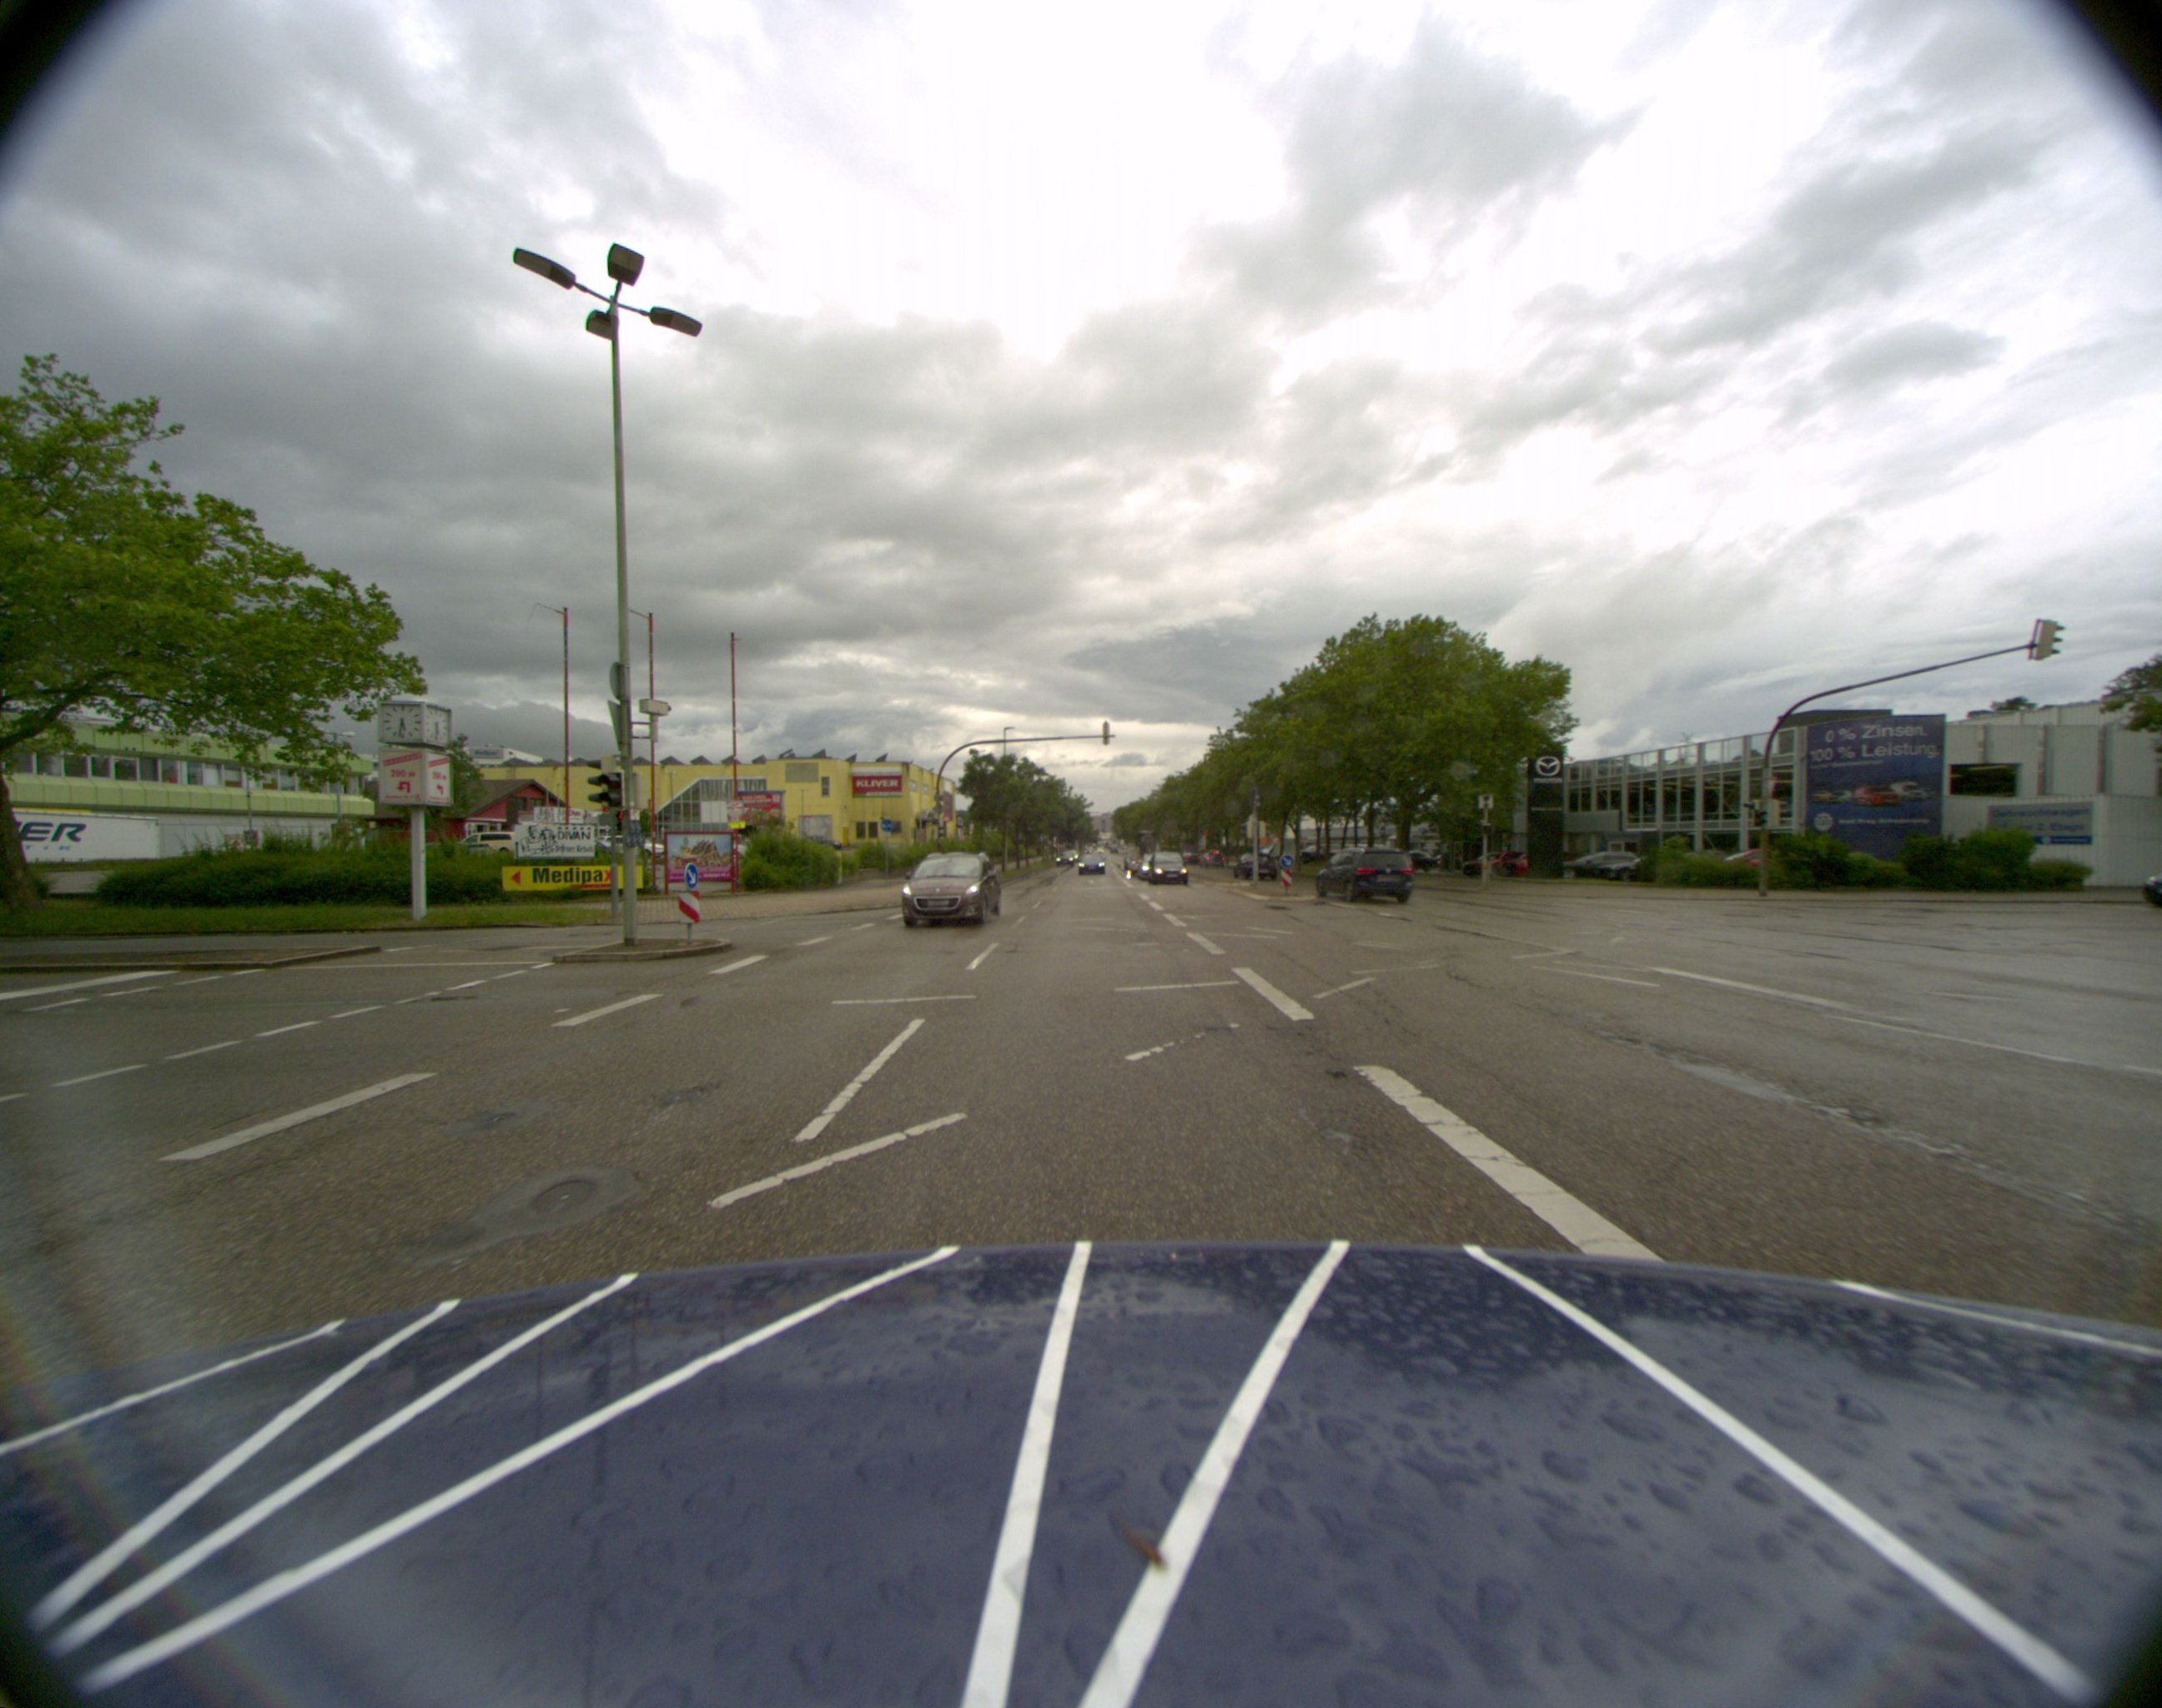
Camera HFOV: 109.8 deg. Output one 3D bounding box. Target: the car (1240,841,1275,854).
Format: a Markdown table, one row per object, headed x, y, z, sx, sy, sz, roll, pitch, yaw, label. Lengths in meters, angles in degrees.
| x | y | z | sx | sy | sz | roll | pitch | yaw | label |
| --- | --- | --- | --- | --- | --- | --- | --- | --- | --- |
| 27.817 | -1.076 | 120.000 | 5.058 | 2.002 | 2.129 | 0 | 1 | 0 | car |

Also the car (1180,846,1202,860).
| x | y | z | sx | sy | sz | roll | pitch | yaw | label |
| --- | --- | --- | --- | --- | --- | --- | --- | --- | --- |
| 11.709 | -0.164 | 81.284 | 1.715 | 1.375 | 4.173 | 2 | 1 | -1 | car |

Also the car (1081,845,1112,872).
| x | y | z | sx | sy | sz | roll | pitch | yaw | label |
| --- | --- | --- | --- | --- | --- | --- | --- | --- | --- |
| 1.097 | 0.296 | 52.676 | 1.998 | 1.633 | 4.360 | -2 | 2 | 2 | car |

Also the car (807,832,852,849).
| x | y | z | sx | sy | sz | roll | pitch | yaw | label |
| --- | --- | --- | --- | --- | --- | --- | --- | --- | --- |
| -26.196 | -1.401 | 79.114 | 3.997 | 1.769 | 2.000 | 0 | 1 | 0 | car |

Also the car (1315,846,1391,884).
| x | y | z | sx | sy | sz | roll | pitch | yaw | label |
| --- | --- | --- | --- | --- | --- | --- | --- | --- | --- |
| 12.898 | 0.467 | 36.372 | 1.915 | 1.717 | 4.883 | 0 | 1 | 1 | car |

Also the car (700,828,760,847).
| x | y | z | sx | sy | sz | roll | pitch | yaw | label |
| --- | --- | --- | --- | --- | --- | --- | --- | --- | --- |
| -31.383 | -1.456 | 68.003 | 4.382 | 1.729 | 2.000 | 0 | 1 | 0 | car |

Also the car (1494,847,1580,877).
| x | y | z | sx | sy | sz | roll | pitch | yaw | label |
| --- | --- | --- | --- | --- | --- | --- | --- | --- | --- |
| 26.072 | 0.452 | 43.445 | 4.237 | 1.644 | 2.008 | 0 | 2 | -22 | car |

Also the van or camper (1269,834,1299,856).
| x | y | z | sx | sy | sz | roll | pitch | yaw | label |
| --- | --- | --- | --- | --- | --- | --- | --- | --- | --- |
| 24.233 | -1.105 | 90.911 | 1.998 | 2.456 | 6.401 | -2 | 1 | 2 | van or camper |

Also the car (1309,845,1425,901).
| x | y | z | sx | sy | sz | roll | pitch | yaw | label |
| --- | --- | --- | --- | --- | --- | --- | --- | --- | --- |
| 8.836 | 0.507 | 23.937 | 1.916 | 1.599 | 4.362 | 0 | 1 | -2 | car |

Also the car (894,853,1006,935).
| x | y | z | sx | sy | sz | roll | pitch | yaw | label |
| --- | --- | --- | --- | --- | --- | --- | --- | --- | --- |
| -2.916 | 0.819 | 17.847 | 1.730 | 1.615 | 4.470 | 0 | 1 | 2 | car |

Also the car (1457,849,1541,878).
| x | y | z | sx | sy | sz | roll | pitch | yaw | label |
| --- | --- | --- | --- | --- | --- | --- | --- | --- | --- |
| 25.710 | 0.550 | 46.745 | 4.573 | 1.587 | 1.996 | -2 | 2 | -21 | car |

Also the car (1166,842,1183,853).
| x | y | z | sx | sy | sz | roll | pitch | yaw | label |
| --- | --- | --- | --- | --- | --- | --- | --- | --- | --- |
| 12.760 | -0.859 | 103.996 | 1.714 | 1.456 | 4.084 | 0 | 1 | 0 | car |

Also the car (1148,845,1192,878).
| x | y | z | sx | sy | sz | roll | pitch | yaw | label |
| --- | --- | --- | --- | --- | --- | --- | --- | --- | --- |
| 4.190 | 0.319 | 36.325 | 1.717 | 1.481 | 4.077 | 0 | 1 | 1 | car |

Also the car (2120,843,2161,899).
| x | y | z | sx | sy | sz | roll | pitch | yaw | label |
| --- | --- | --- | --- | --- | --- | --- | --- | --- | --- |
| 30.846 | 0.452 | 20.155 | 3.989 | 1.480 | 1.817 | 0 | 1 | 2 | car |

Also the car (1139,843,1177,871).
| x | y | z | sx | sy | sz | roll | pitch | yaw | label |
| --- | --- | --- | --- | --- | --- | --- | --- | --- | --- |
| 4.205 | 0.130 | 42.049 | 1.770 | 1.450 | 4.780 | 0 | 1 | 1 | car |

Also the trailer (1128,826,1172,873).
| x | y | z | sx | sy | sz | roll | pitch | yaw | label |
| --- | --- | --- | --- | --- | --- | --- | --- | --- | --- |
| 4.331 | -0.313 | 48.594 | 2.378 | 2.880 | 5.544 | 0 | 1 | 0 | trailer |

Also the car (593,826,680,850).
| x | y | z | sx | sy | sz | roll | pitch | yaw | label |
| --- | --- | --- | --- | --- | --- | --- | --- | --- | --- |
| -32.788 | -1.173 | 56.198 | 4.981 | 1.769 | 2.380 | 0 | 1 | 0 | car |

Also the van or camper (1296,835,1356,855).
| x | y | z | sx | sy | sz | roll | pitch | yaw | label |
| --- | --- | --- | --- | --- | --- | --- | --- | --- | --- |
| 23.428 | -0.877 | 72.553 | 5.306 | 1.811 | 2.262 | -1 | 1 | -24 | van or camper |

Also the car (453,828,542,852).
| x | y | z | sx | sy | sz | roll | pitch | yaw | label |
| --- | --- | --- | --- | --- | --- | --- | --- | --- | --- |
| -44.936 | -1.078 | 58.574 | 4.981 | 1.769 | 2.380 | 0 | 1 | 0 | car |

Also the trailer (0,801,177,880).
| x | y | z | sx | sy | sz | roll | pitch | yaw | label |
| --- | --- | --- | --- | --- | --- | --- | --- | --- | --- |
| -52.959 | -0.624 | 35.562 | 3.159 | 3.694 | 14.815 | -2 | 0 | 2 | trailer |

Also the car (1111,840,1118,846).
| x | y | z | sx | sy | sz | roll | pitch | yaw | label |
| --- | --- | --- | --- | --- | --- | --- | --- | --- | --- |
| 9.624 | -3.119 | 219.217 | 1.767 | 1.522 | 3.858 | 1 | 1 | 2 | car |

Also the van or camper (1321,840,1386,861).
| x | y | z | sx | sy | sz | roll | pitch | yaw | label |
| --- | --- | --- | --- | --- | --- | --- | --- | --- | --- |
| 24.485 | -0.360 | 68.293 | 5.381 | 1.760 | 2.100 | -1 | 4 | -21 | van or camper |

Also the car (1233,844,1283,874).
| x | y | z | sx | sy | sz | roll | pitch | yaw | label |
| --- | --- | --- | --- | --- | --- | --- | --- | --- | --- |
| 9.717 | 0.254 | 42.051 | 1.715 | 1.571 | 3.999 | 1 | 1 | -2 | car |

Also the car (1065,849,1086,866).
| x | y | z | sx | sy | sz | roll | pitch | yaw | label |
| --- | --- | --- | --- | --- | --- | --- | --- | --- | --- |
| -0.592 | 0.372 | 82.347 | 1.998 | 1.633 | 4.360 | -2 | 2 | 2 | car |

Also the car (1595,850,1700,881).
| x | y | z | sx | sy | sz | roll | pitch | yaw | label |
| --- | --- | --- | --- | --- | --- | --- | --- | --- | --- |
| 26.485 | 0.527 | 35.606 | 3.750 | 1.383 | 1.690 | 0 | 1 | -3 | car |

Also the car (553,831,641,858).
| x | y | z | sx | sy | sz | roll | pitch | yaw | label |
| --- | --- | --- | --- | --- | --- | --- | --- | --- | --- |
| -32.454 | -0.661 | 51.005 | 4.578 | 1.769 | 2.000 | 0 | 1 | 0 | car |

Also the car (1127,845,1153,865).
| x | y | z | sx | sy | sz | roll | pitch | yaw | label |
| --- | --- | --- | --- | --- | --- | --- | --- | --- | --- |
| 4.853 | 0.026 | 63.409 | 1.912 | 1.569 | 4.880 | 0 | 1 | 2 | car |

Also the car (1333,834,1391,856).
| x | y | z | sx | sy | sz | roll | pitch | yaw | label |
| --- | --- | --- | --- | --- | --- | --- | --- | --- | --- |
| 24.064 | -0.788 | 64.997 | 4.472 | 1.805 | 1.996 | -1 | 1 | -21 | car |
